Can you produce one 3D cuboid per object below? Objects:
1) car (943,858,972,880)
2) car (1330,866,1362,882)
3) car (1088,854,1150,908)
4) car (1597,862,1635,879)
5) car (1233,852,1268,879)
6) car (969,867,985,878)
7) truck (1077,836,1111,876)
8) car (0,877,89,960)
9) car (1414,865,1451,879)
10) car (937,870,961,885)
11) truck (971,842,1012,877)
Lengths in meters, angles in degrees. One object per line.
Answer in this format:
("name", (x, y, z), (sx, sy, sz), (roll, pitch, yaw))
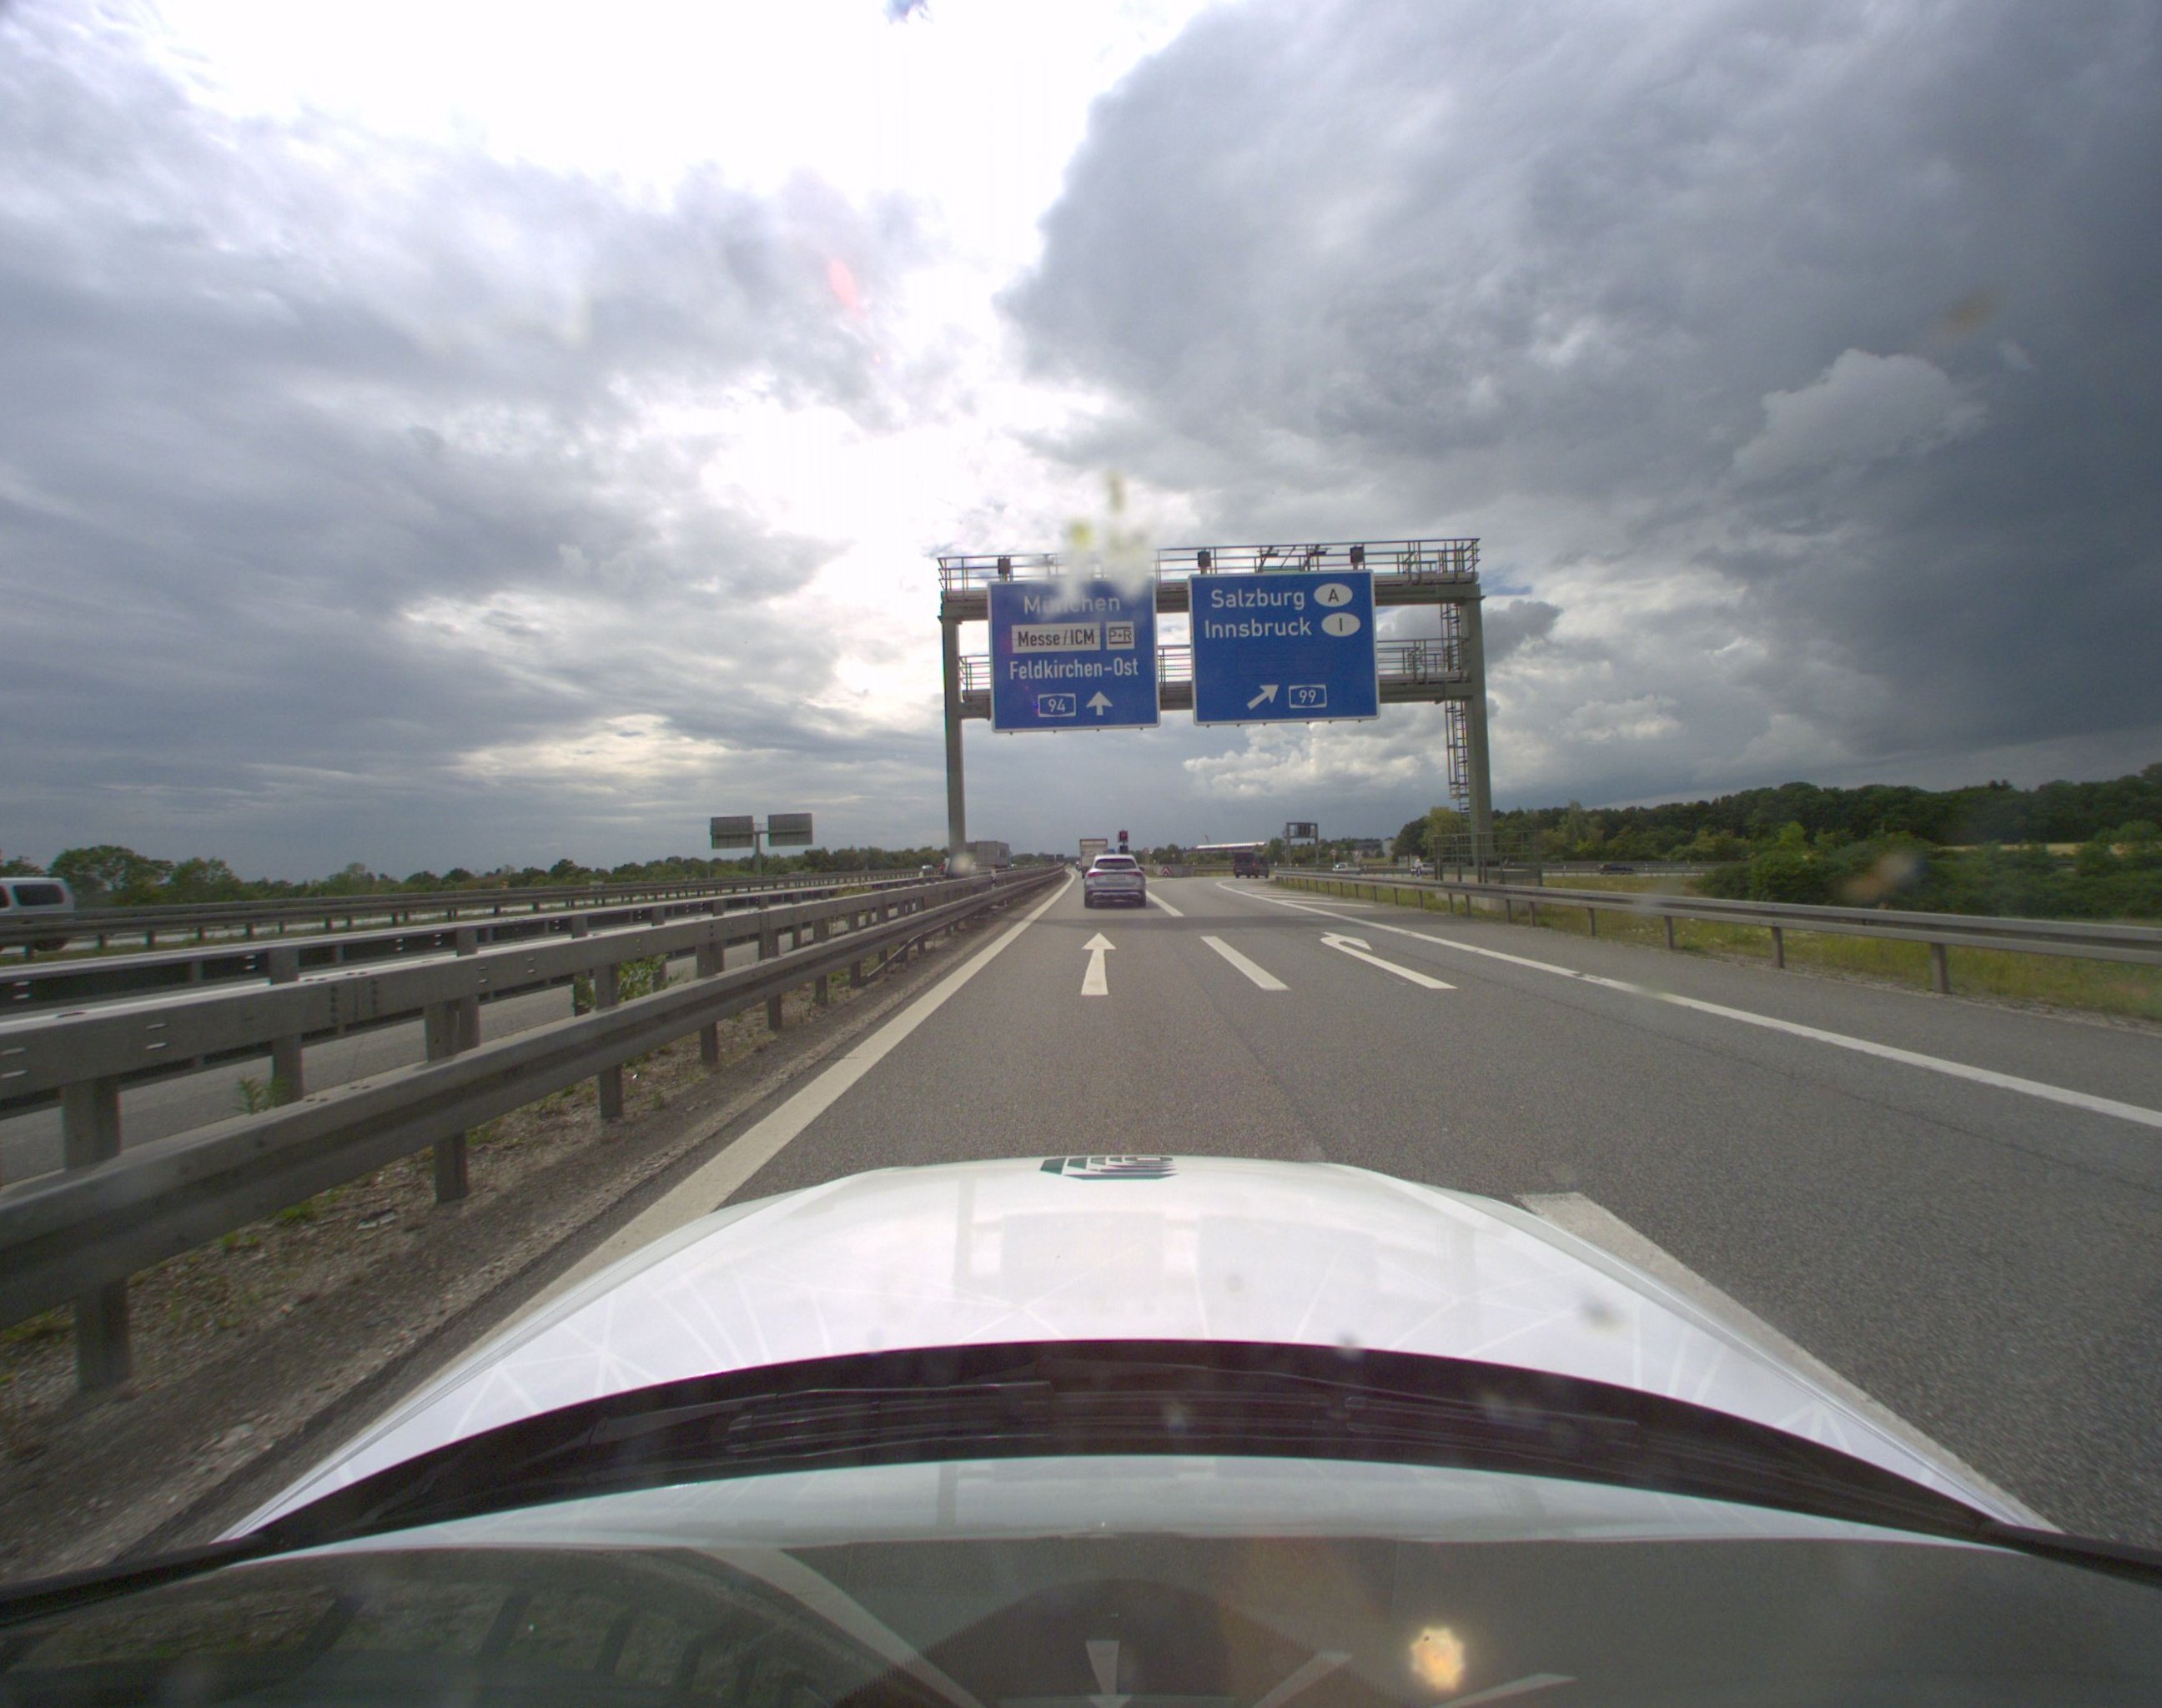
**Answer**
("car", (-11.822, 1.403, 78.323), (1.986, 2.013, 4.376), (-1, 0, 2))
("car", (30.541, 2.302, 93.782), (1.975, 1.709, 4.024), (-1, 0, 45))
("car", (1.175, 0.799, 26.048), (1.812, 1.514, 4.002), (-1, 0, 2))
("car", (71.199, 2.211, 108.445), (3.980, 2.014, 1.780), (2, 0, -5))
("car", (15.047, 1.010, 72.137), (1.889, 2.262, 4.676), (-1, 0, 26))
("car", (-14.766, 2.602, 115.930), (1.792, 1.419, 3.999), (-1, 0, 0))
("truck", (1.157, 0.193, 68.316), (2.559, 3.126, 8.637), (-1, -1, 2))
("car", (-25.569, 1.482, 17.714), (1.903, 1.794, 4.824), (2, 0, 1))
("car", (43.764, 2.231, 101.370), (3.999, 1.709, 1.987), (-1, 0, -19))
("car", (-15.304, 2.691, 94.376), (1.874, 1.546, 4.616), (-1, 0, 1))
("truck", (-11.070, 0.576, 103.005), (3.172, 4.019, 16.076), (-1, 0, 1))
